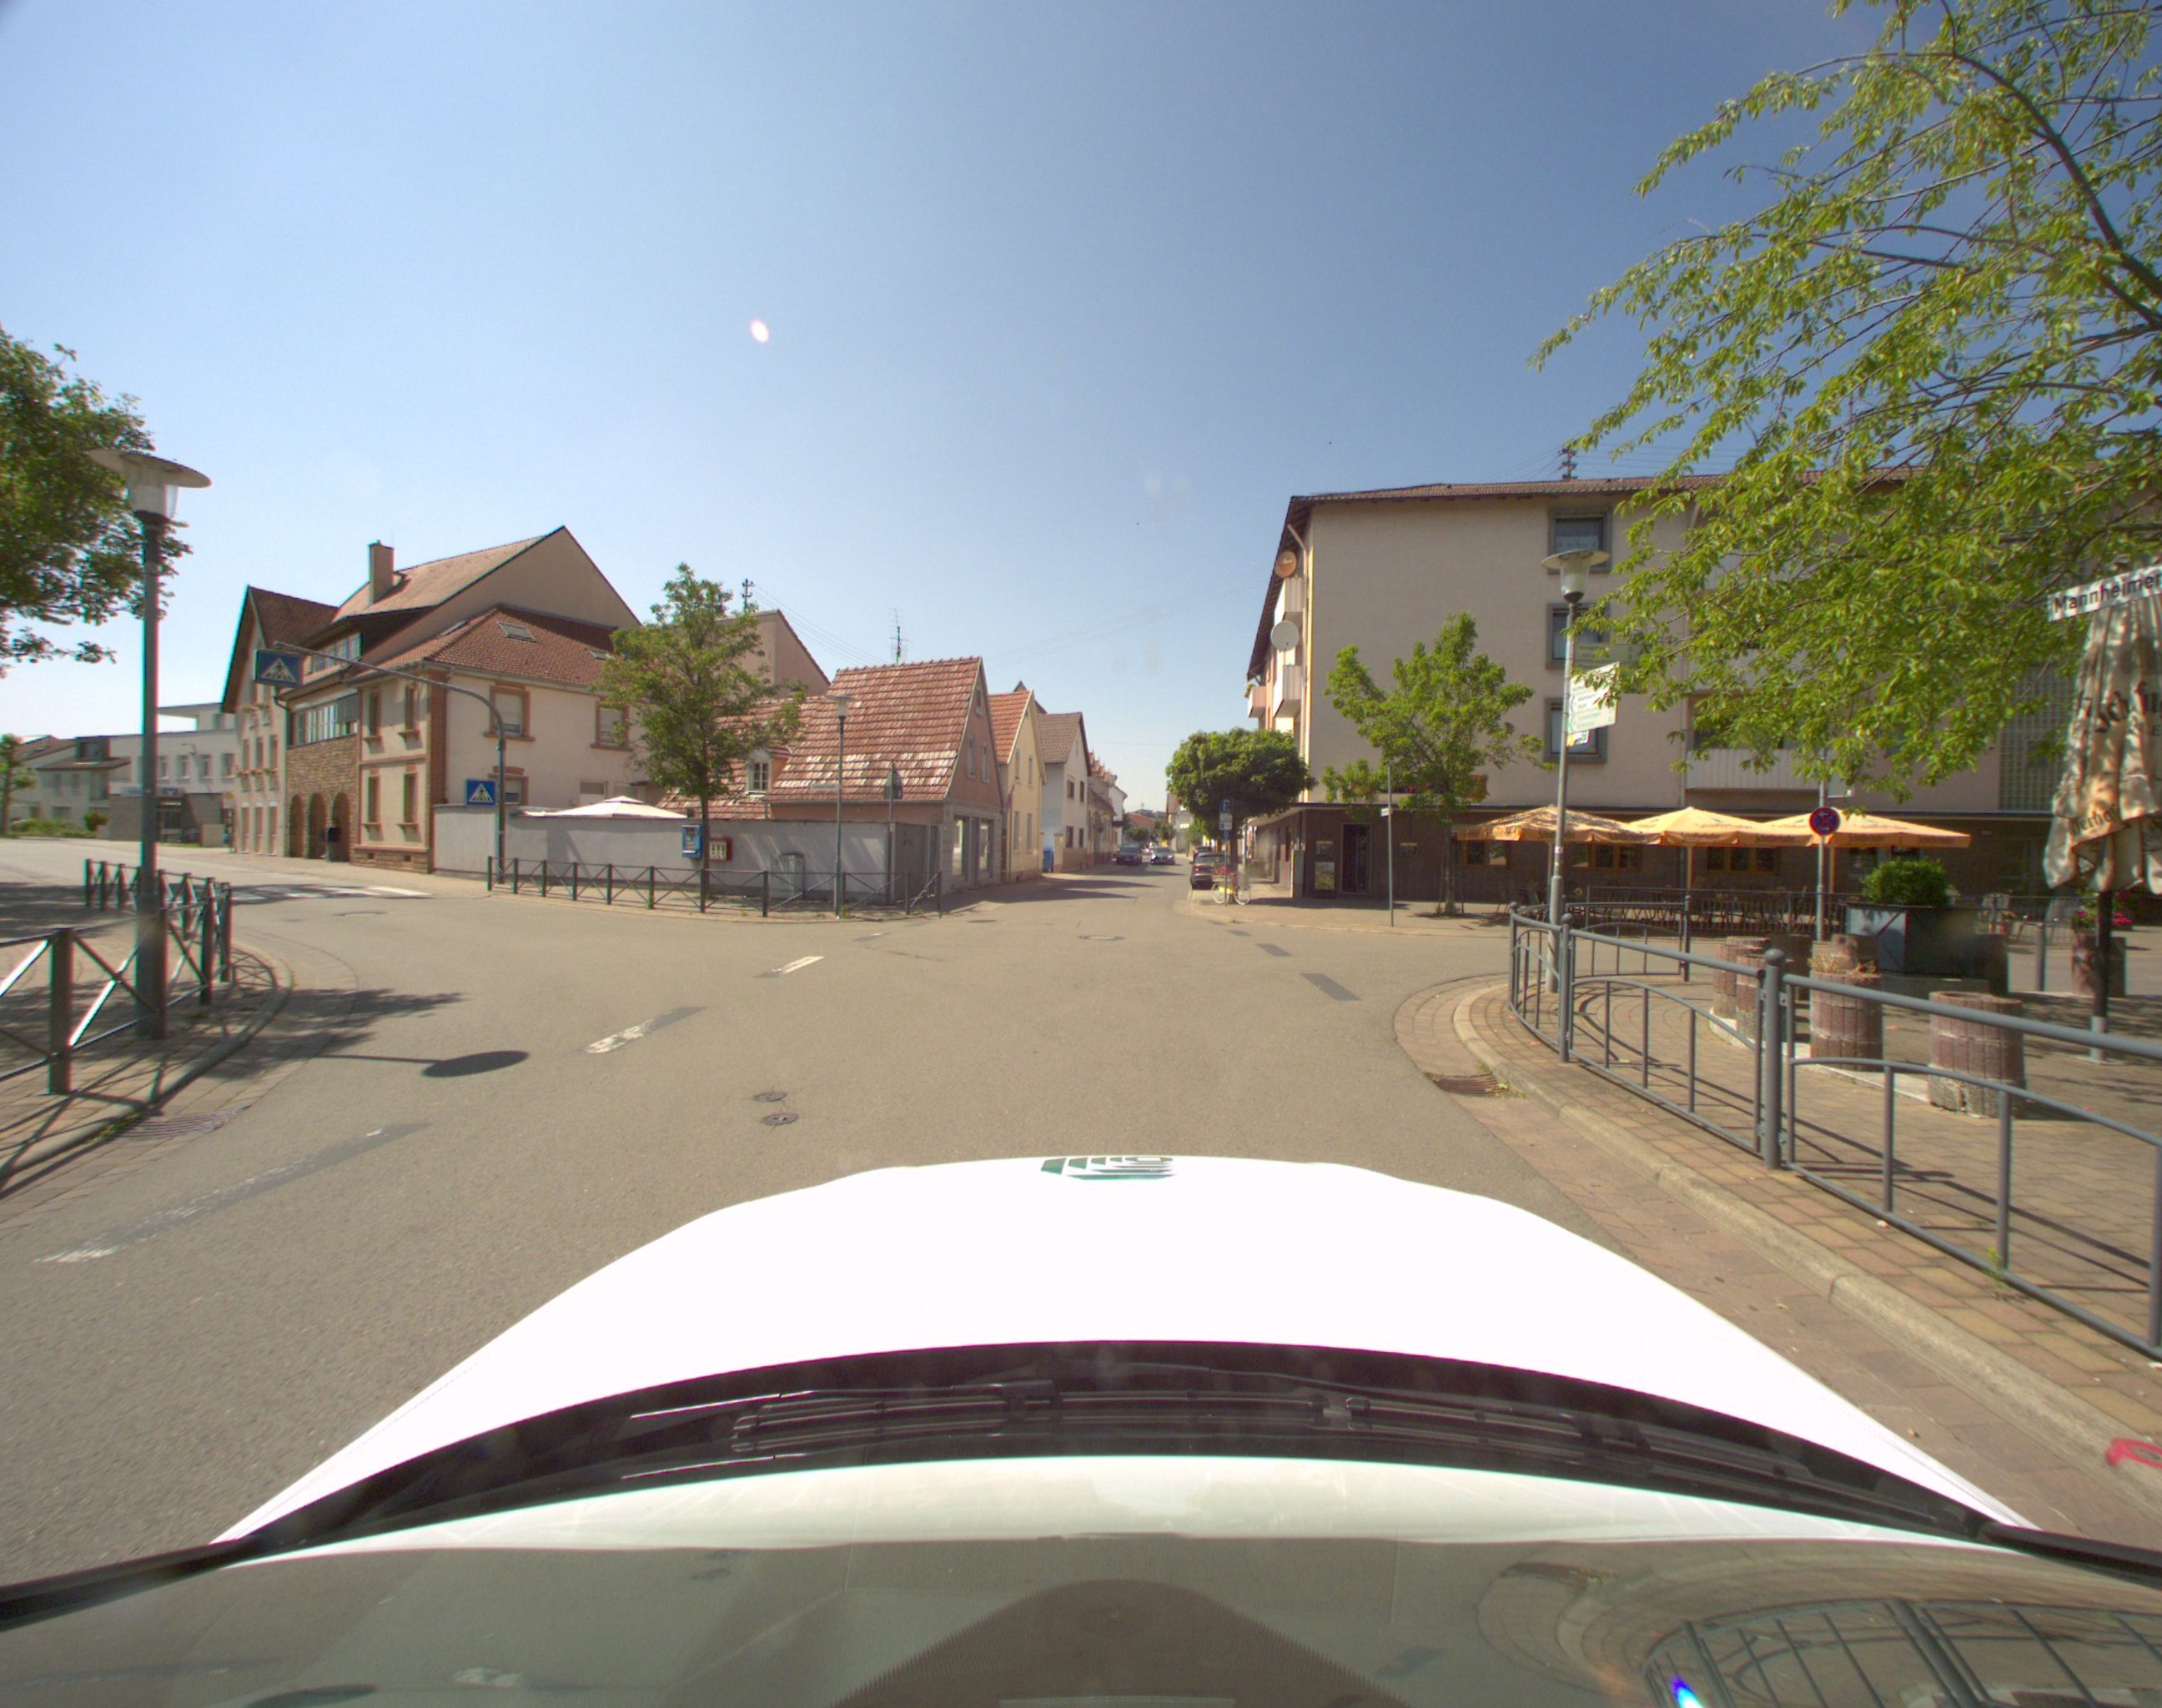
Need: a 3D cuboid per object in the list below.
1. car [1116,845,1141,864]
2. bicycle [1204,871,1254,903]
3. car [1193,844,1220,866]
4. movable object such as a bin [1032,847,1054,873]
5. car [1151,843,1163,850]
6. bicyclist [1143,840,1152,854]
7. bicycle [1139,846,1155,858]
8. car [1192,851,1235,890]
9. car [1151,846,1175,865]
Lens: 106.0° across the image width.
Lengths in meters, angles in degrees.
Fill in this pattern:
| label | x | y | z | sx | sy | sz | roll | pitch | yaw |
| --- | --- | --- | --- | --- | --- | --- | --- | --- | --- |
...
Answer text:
| label | x | y | z | sx | sy | sz | roll | pitch | yaw |
| --- | --- | --- | --- | --- | --- | --- | --- | --- | --- |
| car | 3.757 | 0.014 | 63.749 | 1.654 | 1.476 | 4.143 | 0 | 1 | 7 |
| bicycle | 4.272 | 0.945 | 23.638 | 1.396 | 0.897 | 0.467 | 0 | 1 | 44 |
| car | 10.093 | 0.073 | 65.826 | 2.031 | 1.689 | 4.852 | 0 | 1 | 8 |
| movable object such as a bin | -1.985 | 0.295 | 42.846 | 1.094 | 1.365 | 0.391 | 0 | 0 | 11 |
| car | 18.201 | -1.776 | 195.088 | 2.011 | 1.598 | 4.529 | 0 | 1 | 17 |
| bicyclist | 7.860 | -0.833 | 96.751 | 1.042 | 1.637 | 1.129 | 0 | 0 | 2 |
| bicycle | 7.807 | -0.278 | 96.746 | 1.617 | 1.370 | 3.928 | 0 | 1 | 2 |
| car | 5.263 | 0.596 | 32.226 | 1.566 | 1.454 | 3.495 | 0 | 0 | 10 |
| car | 6.670 | 0.147 | 66.341 | 1.899 | 1.481 | 4.852 | 1 | 0 | 6 |
